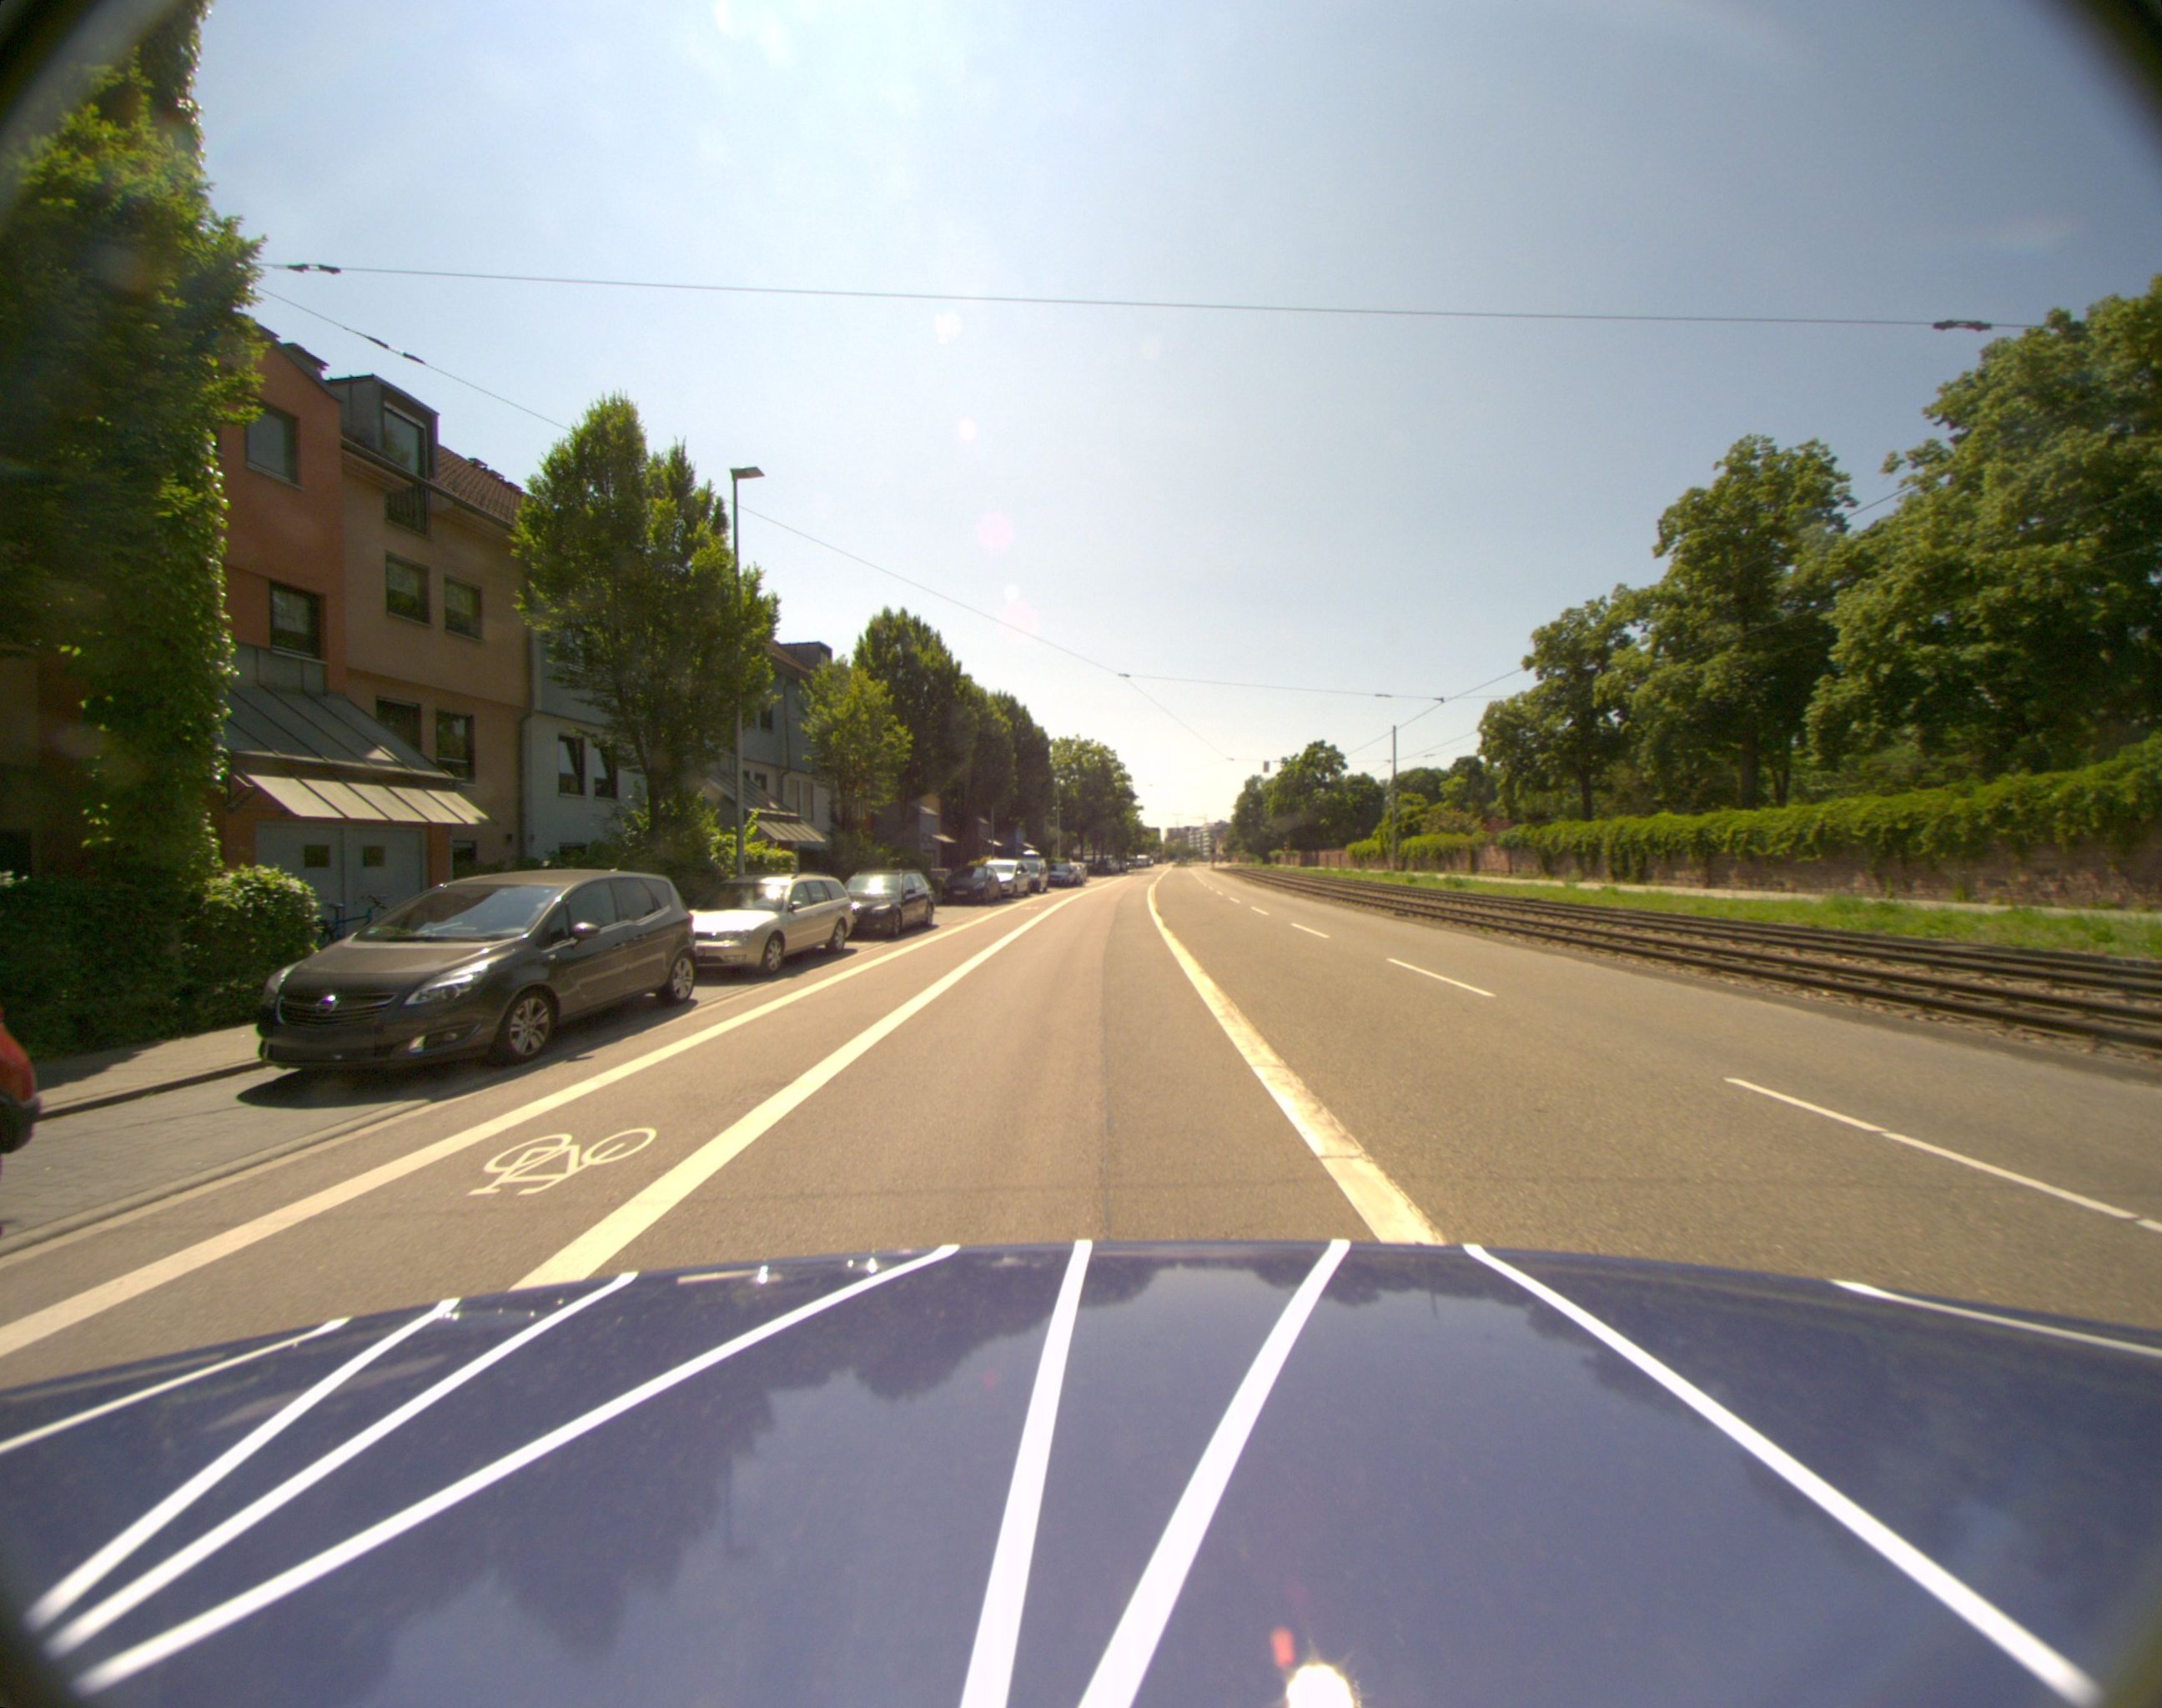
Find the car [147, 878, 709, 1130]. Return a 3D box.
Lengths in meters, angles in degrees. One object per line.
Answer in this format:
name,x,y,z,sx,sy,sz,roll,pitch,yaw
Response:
car,-5.444,1.084,7.275,1.711,1.553,4.323,1,0,-2

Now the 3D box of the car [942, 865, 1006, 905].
car,-4.173,1.183,30.134,1.587,1.415,4.182,1,0,5

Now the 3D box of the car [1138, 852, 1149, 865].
car,13.393,0.997,161.419,2.001,2.621,6.147,1,0,7

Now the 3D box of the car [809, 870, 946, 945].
car,-4.802,1.206,18.759,1.710,1.484,5.040,1,0,4

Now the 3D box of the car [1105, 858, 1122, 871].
car,4.037,1.330,94.452,1.844,1.520,4.208,1,0,5

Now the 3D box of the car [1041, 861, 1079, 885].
car,-1.374,1.231,51.596,1.844,1.520,4.219,1,0,9

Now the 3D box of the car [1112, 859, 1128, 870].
car,5.120,1.382,100.249,1.844,1.427,4.827,1,0,6

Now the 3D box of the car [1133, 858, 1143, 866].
car,10.820,1.498,143.803,1.715,1.410,4.711,1,0,6

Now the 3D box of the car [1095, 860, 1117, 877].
car,2.729,1.542,83.053,1.844,1.696,4.630,1,0,9

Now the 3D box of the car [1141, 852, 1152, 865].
car,14.550,0.998,168.078,2.001,2.621,6.082,1,0,7

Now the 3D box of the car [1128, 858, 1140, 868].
car,9.215,1.562,131.844,1.715,1.623,4.711,1,1,7

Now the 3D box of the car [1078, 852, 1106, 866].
car,2.264,0.981,155.561,5.501,2.445,2.096,-3,0,8

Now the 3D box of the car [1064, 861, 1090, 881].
car,-0.277,1.321,61.590,1.522,1.520,3.819,1,0,8

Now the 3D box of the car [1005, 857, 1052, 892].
car,-2.813,1.070,41.696,1.844,1.783,4.356,1,0,6

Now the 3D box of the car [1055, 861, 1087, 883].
car,-0.714,1.298,56.496,1.844,1.520,4.968,1,0,5

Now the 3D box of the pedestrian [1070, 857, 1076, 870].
pedestrian,-1.050,1.259,99.341,0.749,1.711,0.633,-2,0,1

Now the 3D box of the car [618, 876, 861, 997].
car,-5.335,1.193,12.687,1.711,1.484,4.732,1,0,3

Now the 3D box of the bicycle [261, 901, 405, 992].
bicycle,-9.932,1.204,10.097,1.649,1.133,0.515,-1,0,12

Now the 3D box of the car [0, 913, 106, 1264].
car,-5.722,1.053,1.619,1.711,1.553,4.324,1,0,0

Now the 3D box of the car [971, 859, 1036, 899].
car,-3.496,1.077,35.222,1.844,1.684,4.781,1,0,8
